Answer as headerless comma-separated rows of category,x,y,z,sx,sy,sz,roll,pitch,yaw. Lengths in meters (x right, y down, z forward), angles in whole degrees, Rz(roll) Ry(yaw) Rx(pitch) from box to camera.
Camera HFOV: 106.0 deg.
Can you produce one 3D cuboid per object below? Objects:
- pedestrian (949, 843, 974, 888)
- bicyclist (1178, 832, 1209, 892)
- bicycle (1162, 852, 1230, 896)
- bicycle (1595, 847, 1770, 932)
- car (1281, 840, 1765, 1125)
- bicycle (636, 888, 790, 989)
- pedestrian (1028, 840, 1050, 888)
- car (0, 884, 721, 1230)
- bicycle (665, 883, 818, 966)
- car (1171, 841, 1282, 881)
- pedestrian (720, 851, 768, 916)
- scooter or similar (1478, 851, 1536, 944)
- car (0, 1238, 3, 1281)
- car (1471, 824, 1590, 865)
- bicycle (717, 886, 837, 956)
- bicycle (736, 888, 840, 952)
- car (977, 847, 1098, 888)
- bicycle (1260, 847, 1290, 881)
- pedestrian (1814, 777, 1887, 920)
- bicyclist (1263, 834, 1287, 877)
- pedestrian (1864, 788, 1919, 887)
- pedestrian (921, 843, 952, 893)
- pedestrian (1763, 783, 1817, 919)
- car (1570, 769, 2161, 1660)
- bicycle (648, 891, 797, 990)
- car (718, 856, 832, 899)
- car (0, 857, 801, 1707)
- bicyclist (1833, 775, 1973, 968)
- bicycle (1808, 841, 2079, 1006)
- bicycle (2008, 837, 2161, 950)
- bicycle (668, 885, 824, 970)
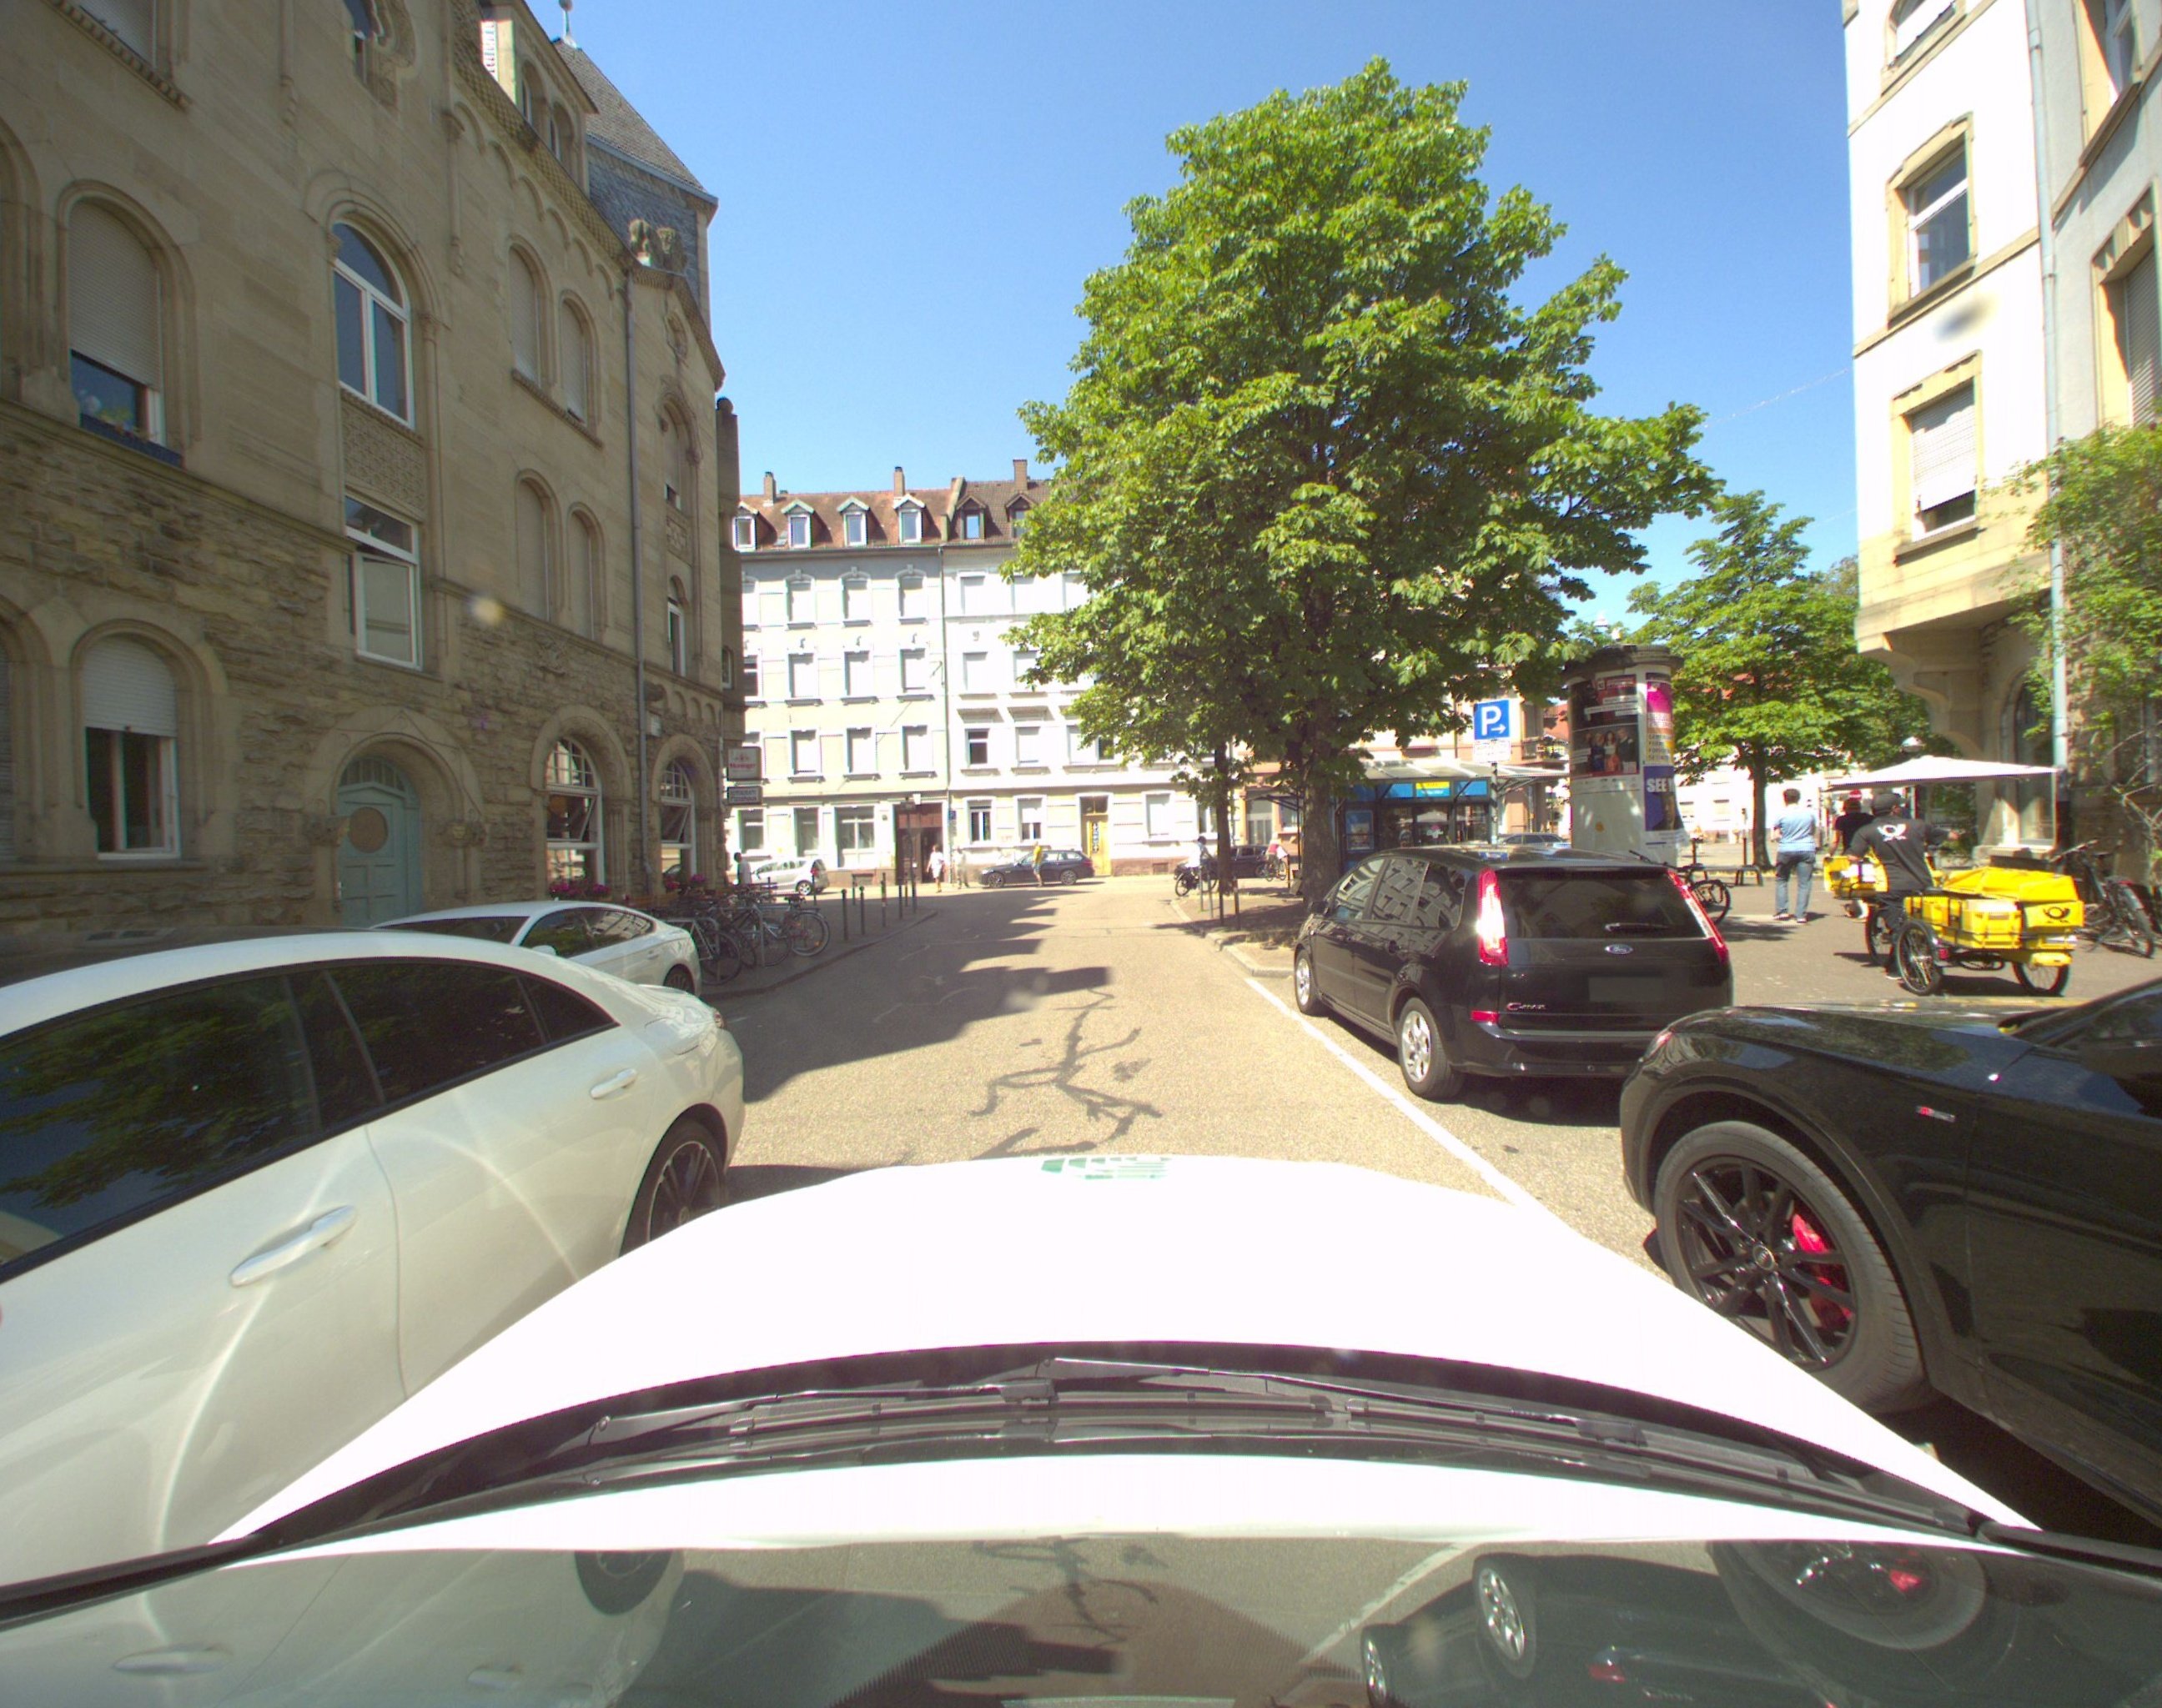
pedestrian,-4.996,0.490,34.126,0.899,1.814,0.959,-3,0,-4
bicyclist,3.361,0.233,24.250,0.613,1.760,0.664,0,0,-43
bicycle,3.460,0.564,24.325,2.455,1.228,0.646,-1,0,-44
bicycle,8.214,0.475,11.166,1.893,1.039,0.634,-3,0,1
car,2.909,0.680,6.503,1.657,1.540,4.178,0,0,1
bicycle,-4.637,1.054,10.306,1.699,1.100,0.292,-5,0,-4
pedestrian,-1.692,0.395,32.695,0.724,1.853,0.683,-3,0,-9
car,-4.574,1.057,6.159,1.697,1.352,4.512,-4,0,-2
bicycle,-4.894,1.011,11.806,1.991,1.129,0.435,-1,0,-4
car,6.037,0.280,34.149,4.280,1.370,1.807,-3,3,0
pedestrian,-8.959,0.765,21.689,0.854,1.672,0.774,-3,0,1
scooter or similar,5.667,0.549,10.808,0.437,1.136,1.193,-3,0,37
car,-4.830,0.849,0.946,1.667,1.582,4.051,-4,0,-1
car,18.804,-0.405,34.182,3.974,1.505,1.778,-3,0,-1
bicycle,-4.714,1.038,12.695,1.701,1.045,0.413,0,0,-4
bicycle,-4.709,1.054,13.122,1.522,1.008,0.367,0,0,-4
car,-1.756,0.551,33.997,4.843,1.437,2.000,-3,0,0
bicycle,7.061,0.339,29.515,0.646,1.209,2.455,-1,0,23
pedestrian,10.611,-0.081,11.222,0.888,1.880,0.594,-2,0,-41
bicyclist,6.990,0.052,29.358,0.664,1.533,0.613,-3,0,24
pedestrian,15.042,-0.304,15.120,0.753,1.794,0.576,-3,0,-38
pedestrian,-5.650,0.527,31.912,0.844,1.889,0.938,-3,0,11
pedestrian,10.116,-0.043,11.639,0.513,1.868,0.658,-2,0,40
car,2.814,0.648,1.009,1.731,1.596,4.345,0,0,-2
bicycle,-4.652,1.115,10.613,1.699,1.100,0.292,-5,0,-4
car,-12.785,0.959,34.234,4.035,1.562,1.806,-3,0,-1
car,-2.250,0.823,1.464,1.835,1.460,4.362,-4,0,1
bicyclist,7.433,0.153,7.401,0.671,1.647,0.666,-3,0,28
bicycle,7.426,0.501,7.220,0.786,1.169,2.594,-3,0,27
bicycle,10.548,0.366,8.571,0.542,1.039,1.849,-3,0,34
bicycle,-4.658,1.022,11.375,1.967,1.129,0.394,1,0,-4
